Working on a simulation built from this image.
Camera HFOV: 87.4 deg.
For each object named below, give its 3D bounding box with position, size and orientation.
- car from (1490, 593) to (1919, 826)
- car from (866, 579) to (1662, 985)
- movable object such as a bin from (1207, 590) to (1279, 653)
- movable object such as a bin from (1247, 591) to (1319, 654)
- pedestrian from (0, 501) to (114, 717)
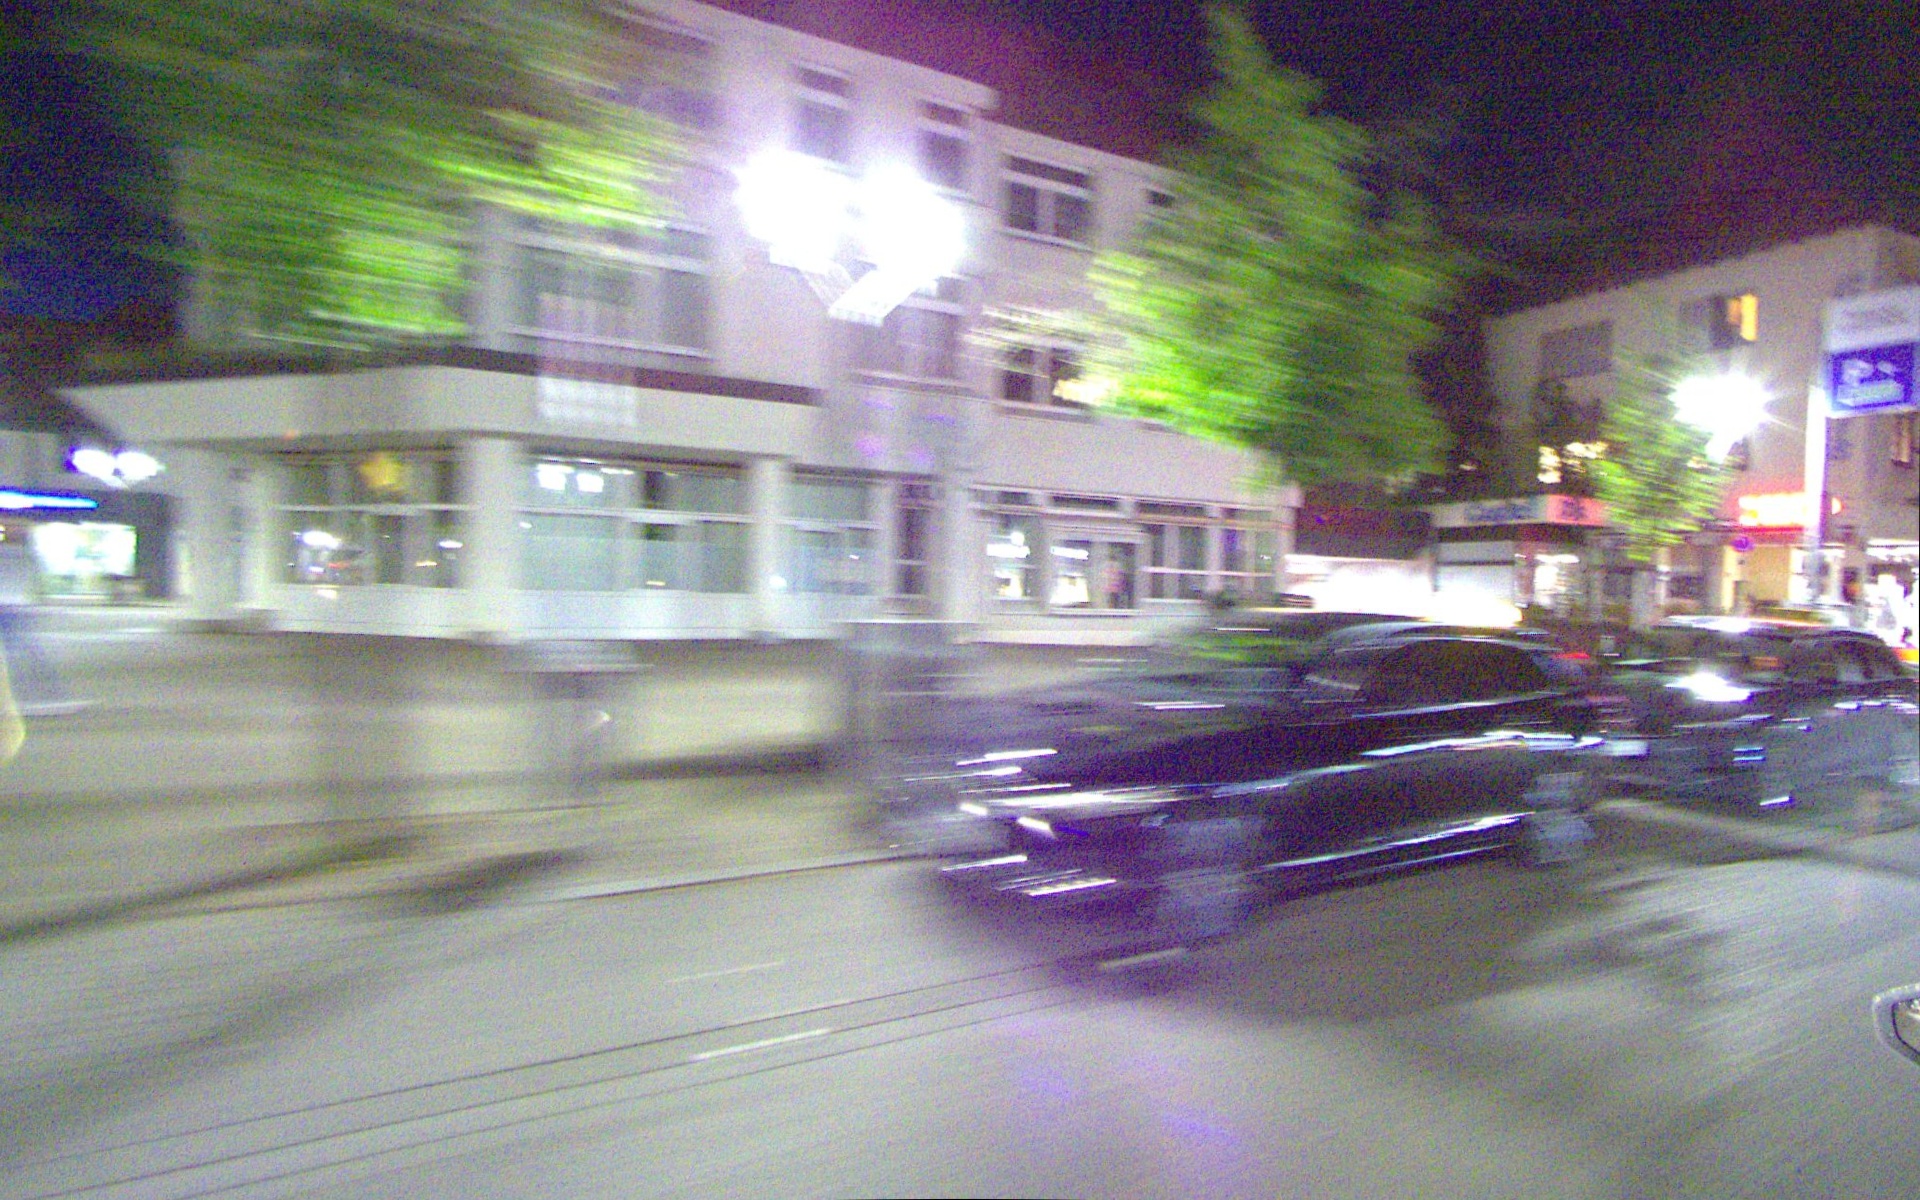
[{"bbox_3d":[7.111,0.835,9.211,4.759,1.659,1.750,1,0,-31],"label":"car"},{"bbox_3d":[1.993,0.749,5.997,4.729,1.562,1.894,1,1,-32],"label":"car"},{"bbox_3d":[6.893,0.522,24.469,1.270,1.463,1.032,2,1,-28],"label":"movable object such as a bin"},{"bbox_3d":[8.052,0.544,25.063,1.213,1.477,1.126,2,1,-28],"label":"movable object such as a bin"},{"bbox_3d":[-8.280,0.063,8.901,1.010,1.842,0.788,2,2,-27],"label":"pedestrian"}]
